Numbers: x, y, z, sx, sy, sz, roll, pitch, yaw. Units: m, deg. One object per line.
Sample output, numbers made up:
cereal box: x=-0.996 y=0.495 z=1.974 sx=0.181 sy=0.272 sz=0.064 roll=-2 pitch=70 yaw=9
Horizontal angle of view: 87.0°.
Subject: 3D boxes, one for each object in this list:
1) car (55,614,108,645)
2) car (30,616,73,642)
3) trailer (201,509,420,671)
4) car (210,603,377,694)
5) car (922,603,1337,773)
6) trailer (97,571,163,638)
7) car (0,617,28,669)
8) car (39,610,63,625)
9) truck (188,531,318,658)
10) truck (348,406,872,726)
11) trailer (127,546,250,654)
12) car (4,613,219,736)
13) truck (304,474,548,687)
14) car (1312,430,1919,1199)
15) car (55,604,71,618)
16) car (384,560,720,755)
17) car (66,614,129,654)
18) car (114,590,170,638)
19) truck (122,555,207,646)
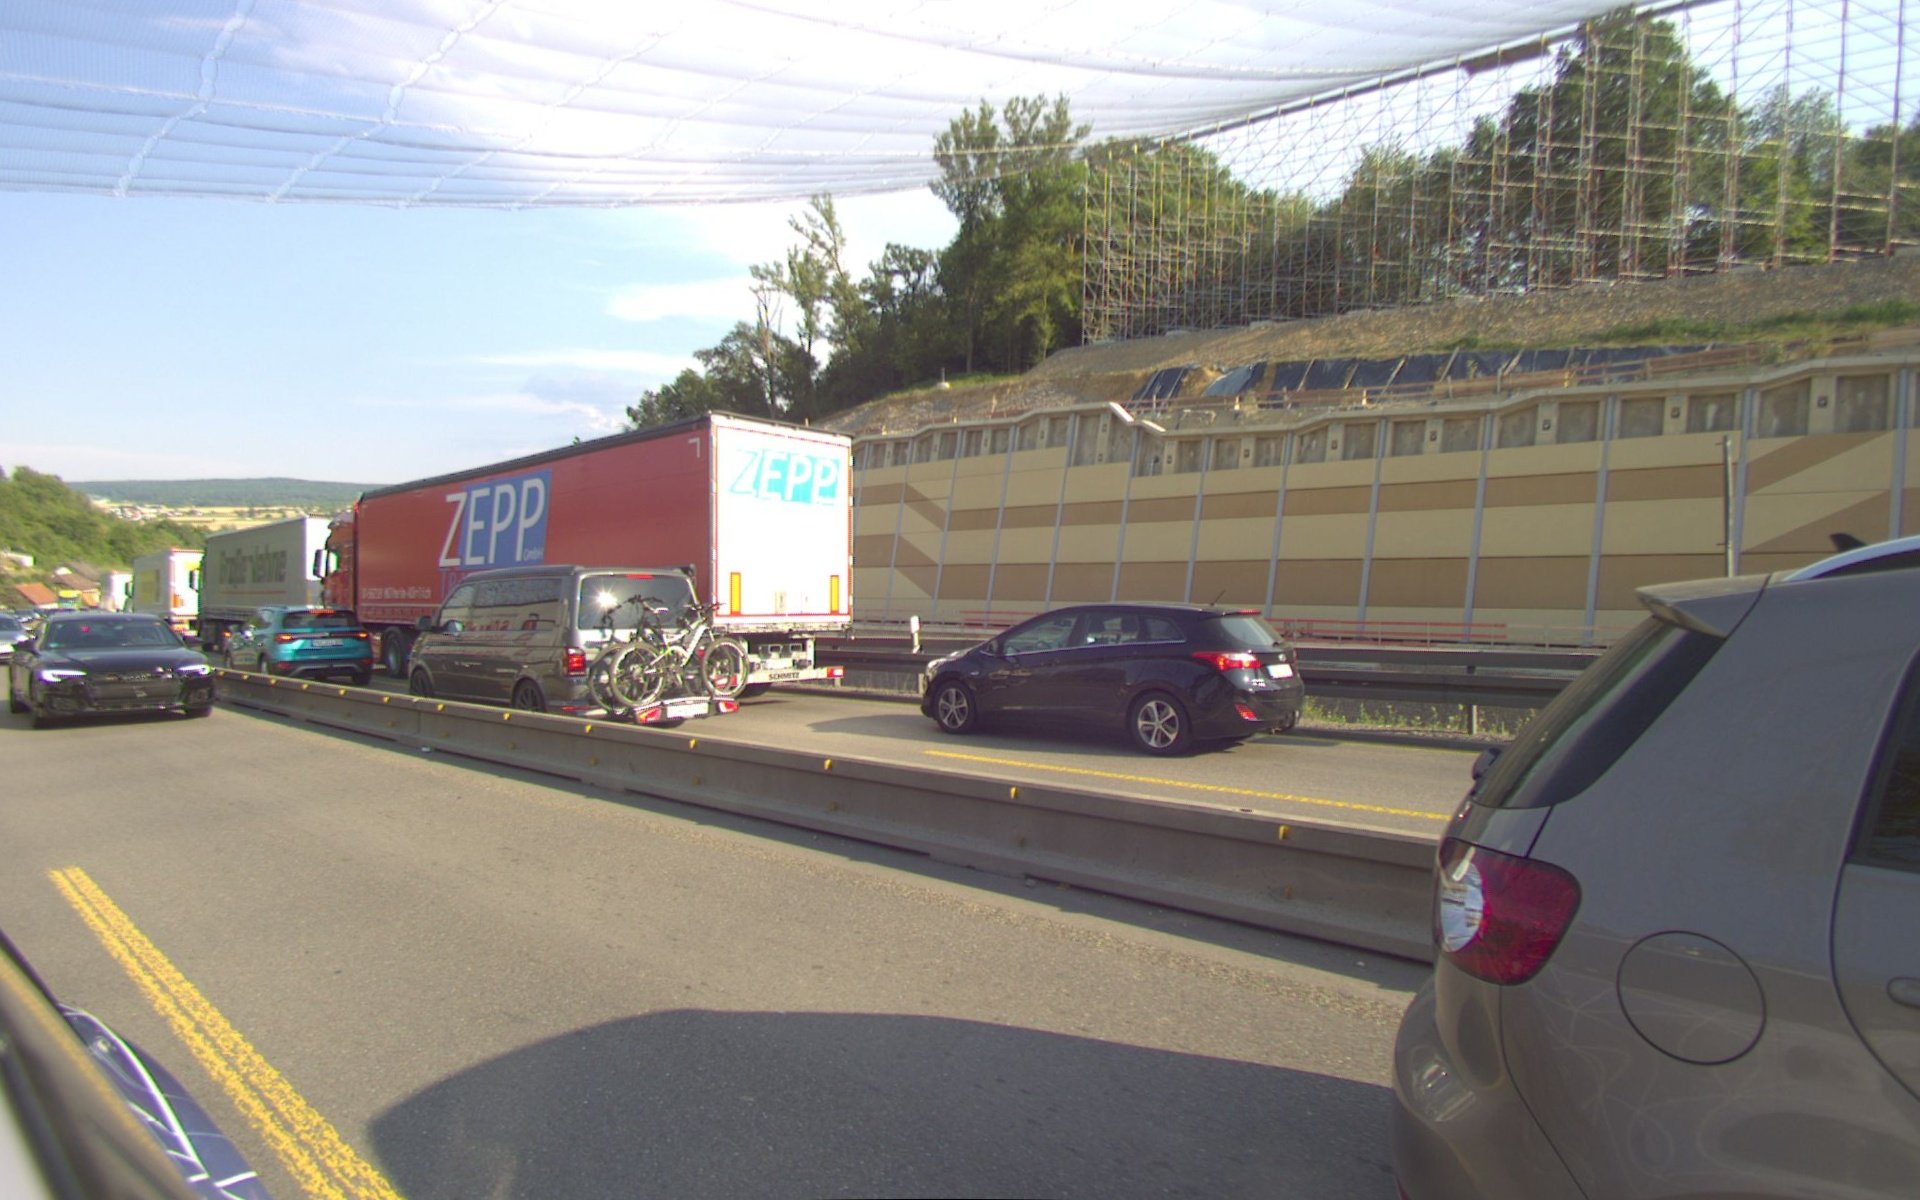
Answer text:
car: x=-44.918 y=1.469 z=51.718 sx=1.712 sy=1.450 sz=4.841 roll=-1 pitch=0 yaw=-45
car: x=-54.400 y=1.719 z=60.578 sx=1.711 sy=1.388 sz=4.894 roll=-2 pitch=1 yaw=-44
trailer: x=-20.898 y=-0.222 z=31.905 sx=13.971 sy=4.172 sz=2.767 roll=0 pitch=-1 yaw=44
car: x=-13.093 y=0.875 z=19.770 sx=4.267 sy=1.546 sz=1.724 roll=-1 pitch=0 yaw=42
car: x=1.668 y=0.798 z=10.876 sx=4.137 sy=1.458 sz=1.703 roll=-1 pitch=0 yaw=42
trailer: x=-57.977 y=0.332 z=70.536 sx=2.688 sy=4.250 sz=13.762 roll=0 pitch=-1 yaw=-43
car: x=-27.907 y=1.230 z=28.818 sx=3.999 sy=1.409 sz=1.676 roll=-2 pitch=0 yaw=42
car: x=-103.573 y=2.054 z=115.374 sx=1.794 sy=1.591 sz=4.762 roll=3 pitch=-3 yaw=-40
truck: x=-25.487 y=-0.170 z=36.395 sx=5.936 sy=4.172 sz=2.756 roll=0 pitch=-1 yaw=44
truck: x=-7.407 y=-0.405 z=18.793 sx=13.801 sy=4.172 sz=2.758 roll=0 pitch=-1 yaw=41
trailer: x=-35.867 y=0.033 z=46.742 sx=2.734 sy=4.366 sz=13.889 roll=0 pitch=-1 yaw=-45
car: x=-11.871 y=0.917 z=14.066 sx=4.001 sy=1.409 sz=1.842 roll=0 pitch=-1 yaw=44
truck: x=-12.361 y=-0.364 z=23.161 sx=6.676 sy=4.172 sz=2.758 roll=0 pitch=-1 yaw=41
car: x=2.655 y=0.586 z=0.922 sx=4.097 sy=1.586 sz=1.666 roll=0 pitch=0 yaw=41
car: x=-144.291 y=1.781 z=162.825 sx=1.794 sy=2.015 sz=4.762 roll=3 pitch=-3 yaw=-40
car: x=-5.172 y=0.616 z=12.468 sx=4.859 sy=1.950 sz=1.855 roll=-1 pitch=-1 yaw=41
car: x=-34.414 y=1.315 z=40.356 sx=1.631 sy=1.475 sz=4.404 roll=-2 pitch=0 yaw=-44
car: x=-49.096 y=0.825 z=60.668 sx=1.998 sy=2.710 sz=6.954 roll=-1 pitch=0 yaw=-44
truck: x=-40.439 y=0.031 z=51.366 sx=2.713 sy=4.332 sz=5.937 roll=0 pitch=-1 yaw=-45
